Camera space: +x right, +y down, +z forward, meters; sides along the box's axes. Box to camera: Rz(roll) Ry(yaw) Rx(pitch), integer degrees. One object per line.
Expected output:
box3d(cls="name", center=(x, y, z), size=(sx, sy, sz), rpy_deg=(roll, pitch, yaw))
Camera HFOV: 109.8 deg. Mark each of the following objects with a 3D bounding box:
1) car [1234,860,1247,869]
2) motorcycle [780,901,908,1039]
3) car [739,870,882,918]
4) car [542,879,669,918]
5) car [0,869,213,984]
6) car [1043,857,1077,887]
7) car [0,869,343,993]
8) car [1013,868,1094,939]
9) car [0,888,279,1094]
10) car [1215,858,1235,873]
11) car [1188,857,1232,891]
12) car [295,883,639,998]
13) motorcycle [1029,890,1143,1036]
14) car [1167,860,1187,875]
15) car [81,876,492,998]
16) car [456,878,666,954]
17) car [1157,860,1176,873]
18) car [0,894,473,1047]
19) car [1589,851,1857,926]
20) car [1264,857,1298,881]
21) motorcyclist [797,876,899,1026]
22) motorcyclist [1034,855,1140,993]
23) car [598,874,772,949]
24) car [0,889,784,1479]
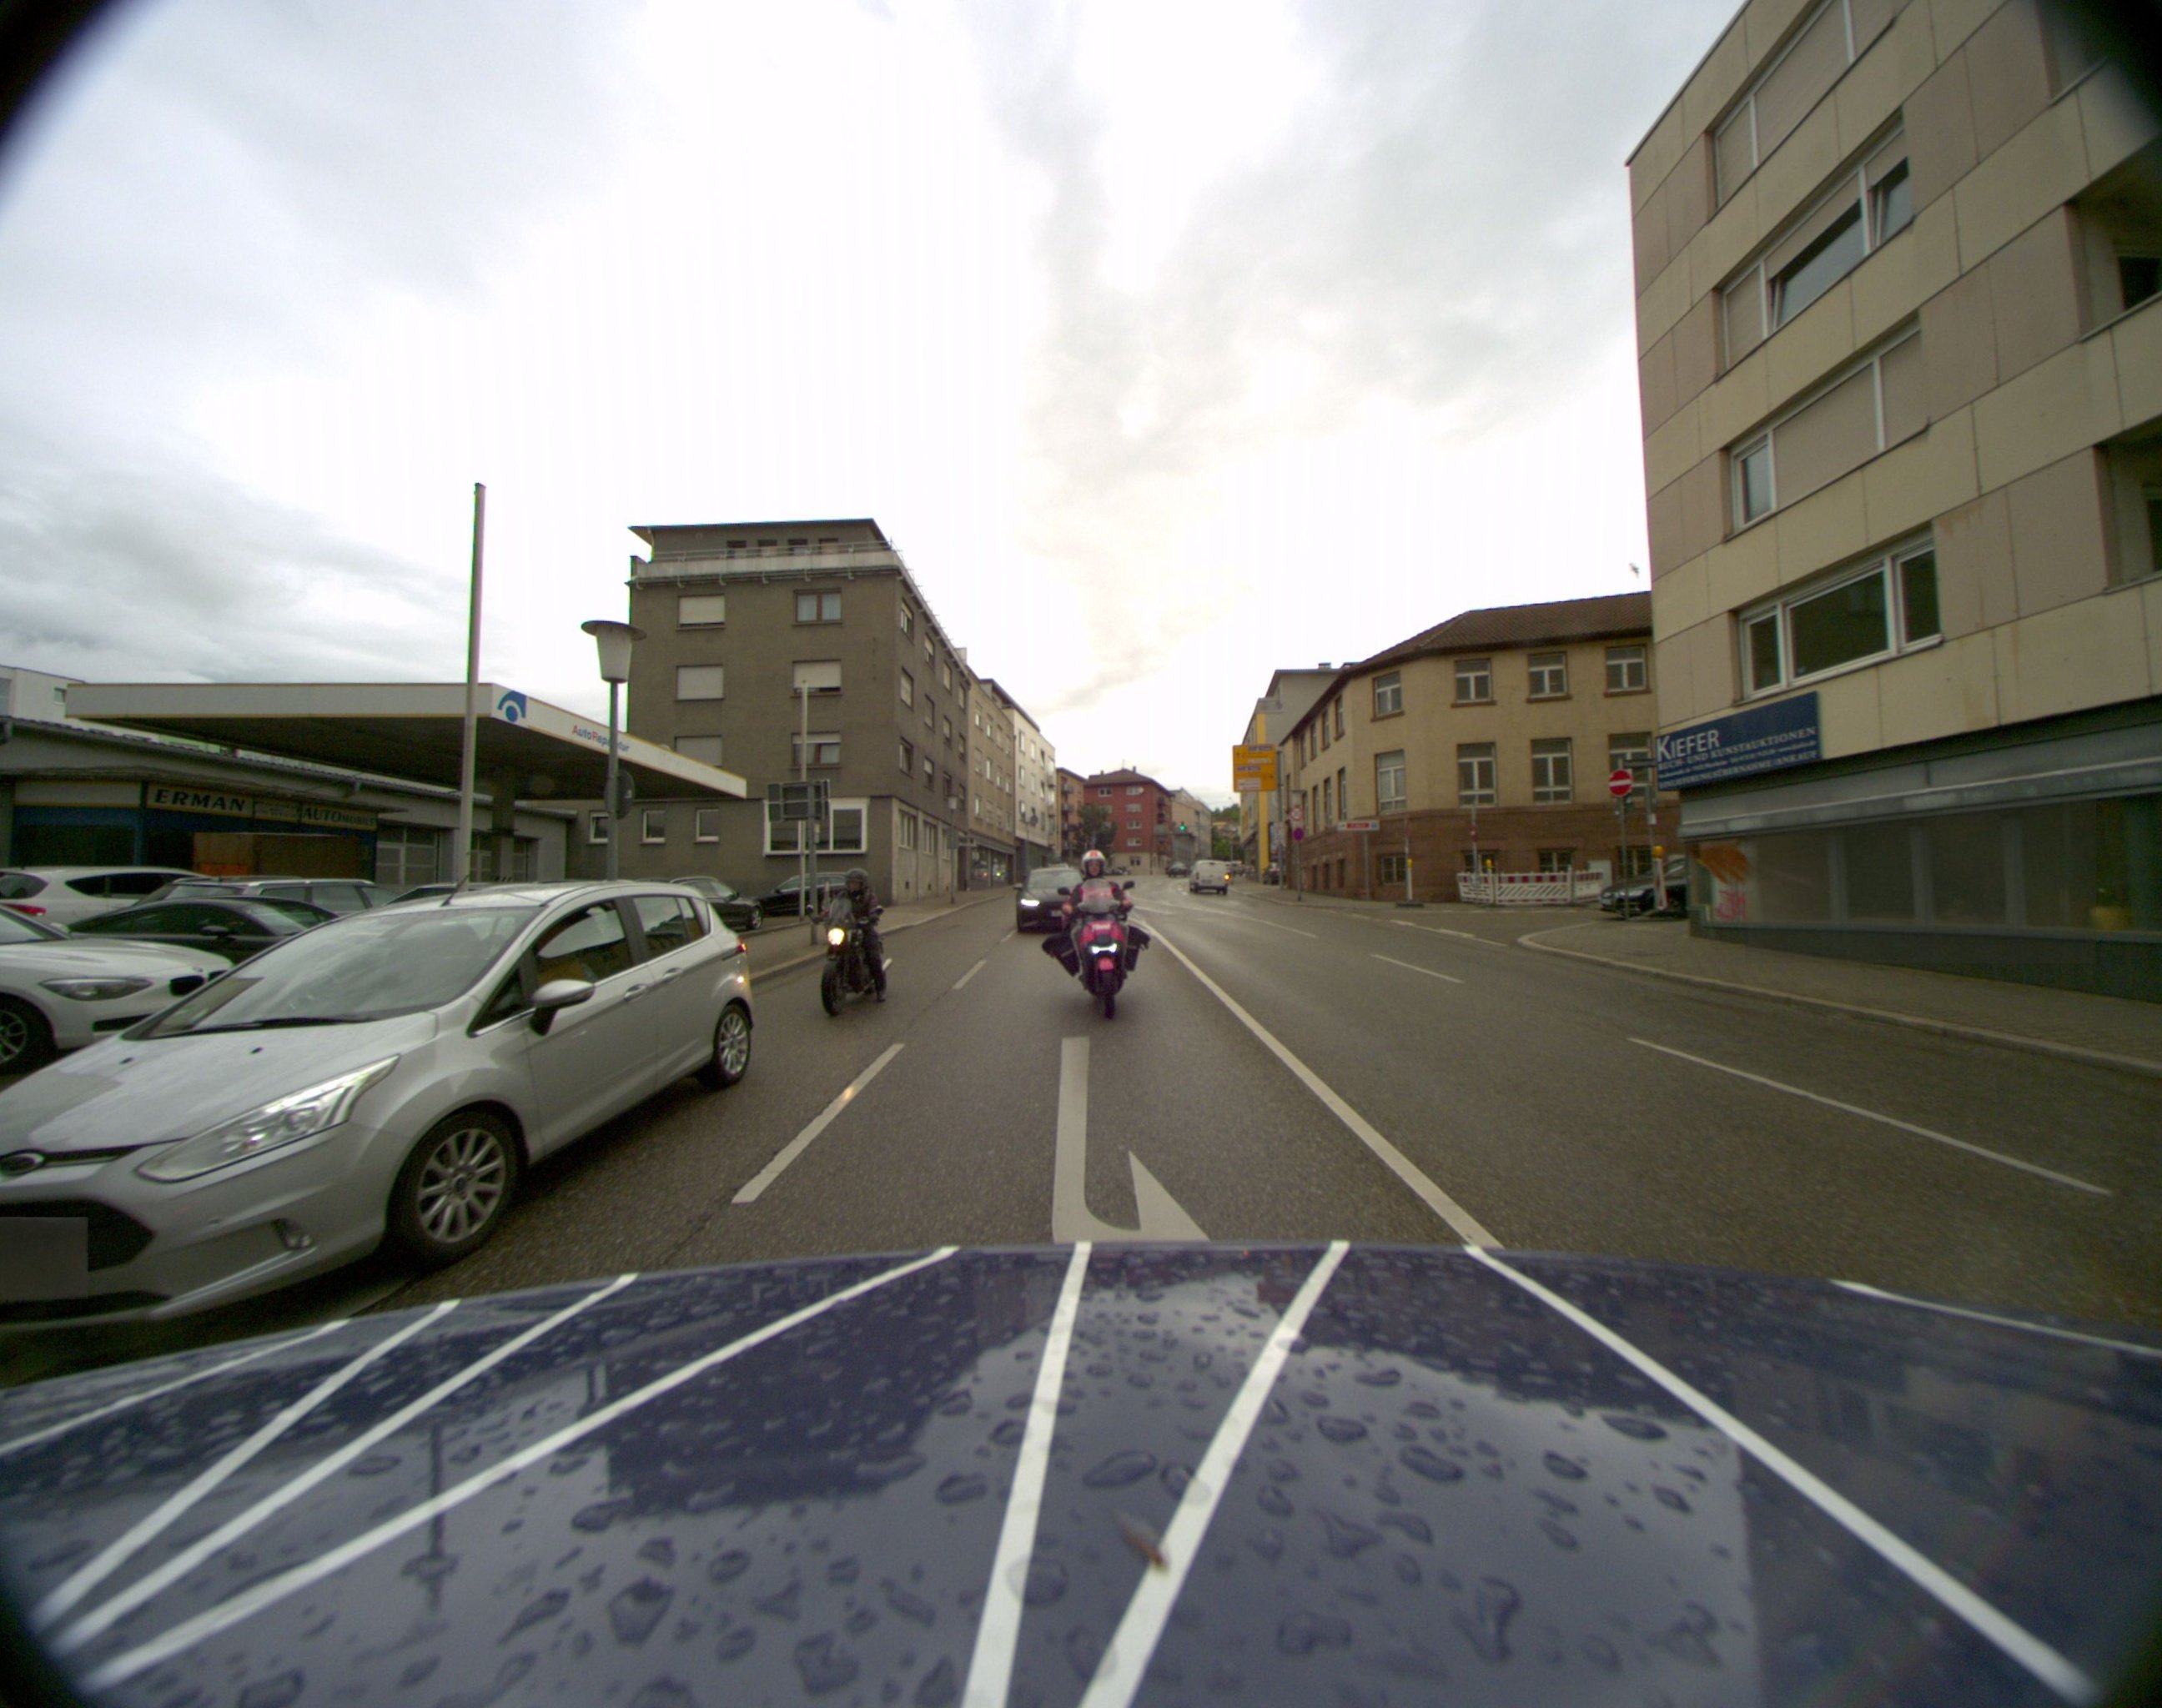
box3d(cls="car", center=(24.614, 1.616, 117.091), size=(1.860, 1.445, 4.323), rpy_deg=(-1, 0, 13))
box3d(cls="motorcycle", center=(-2.689, 1.255, 8.940), size=(0.847, 1.218, 2.372), rpy_deg=(-4, 0, -4))
box3d(cls="car", center=(-10.056, 1.463, 28.456), size=(4.531, 1.495, 2.001), rpy_deg=(-3, 0, 5))
box3d(cls="car", center=(-18.249, 1.698, 29.273), size=(3.751, 1.445, 1.795), rpy_deg=(0, -2, 3))
box3d(cls="car", center=(-17.474, 1.150, 12.496), size=(1.793, 1.720, 3.949), rpy_deg=(-1, 0, 1))
box3d(cls="car", center=(-1.334, 1.160, 50.130), size=(1.848, 1.892, 3.766), rpy_deg=(-1, 0, 4))
box3d(cls="car", center=(-15.162, 1.092, 12.410), size=(1.793, 1.591, 4.419), rpy_deg=(-1, 0, 1))
box3d(cls="car", center=(-0.747, 1.119, 18.788), size=(1.706, 1.451, 4.317), rpy_deg=(-3, 0, -4))
box3d(cls="car", center=(-9.894, 1.127, 6.365), size=(4.002, 1.521, 1.761), rpy_deg=(-1, 0, -15))
box3d(cls="car", center=(15.308, 1.206, 81.146), size=(1.861, 1.445, 4.321), rpy_deg=(2, 0, 8))
box3d(cls="car", center=(7.147, 1.073, 42.570), size=(1.866, 1.793, 4.266), rpy_deg=(0, 0, 2))
box3d(cls="car", center=(-9.709, 1.261, 12.640), size=(1.792, 1.407, 4.616), rpy_deg=(0, 0, 3))
box3d(cls="motorcycle", center=(0.108, 1.107, 8.570), size=(1.010, 1.218, 2.694), rpy_deg=(-4, 0, 3))
box3d(cls="car", center=(9.782, 1.360, 77.090), size=(1.861, 1.445, 4.321), rpy_deg=(-1, 0, 8))
box3d(cls="car", center=(-12.288, 1.170, 12.326), size=(1.793, 1.535, 4.493), rpy_deg=(3, -2, 2))
box3d(cls="car", center=(-12.092, 1.360, 18.110), size=(1.793, 1.502, 4.420), rpy_deg=(3, -2, 2))
box3d(cls="car", center=(9.994, 1.468, 88.789), size=(1.860, 1.445, 4.322), rpy_deg=(-1, 0, 12))
box3d(cls="car", center=(-9.864, 1.246, 8.832), size=(4.002, 1.392, 1.669), rpy_deg=(-1, 0, -14))
box3d(cls="car", center=(14.528, 0.783, 17.463), size=(4.358, 1.495, 1.755), rpy_deg=(-2, 0, 11))
box3d(cls="car", center=(13.361, 1.009, 50.926), size=(1.861, 1.445, 3.966), rpy_deg=(-4, -1, 10))
box3d(cls="motorcyclist", center=(-2.693, 1.085, 8.891), size=(0.847, 1.580, 0.962), rpy_deg=(-4, 0, -4))
box3d(cls="motorcyclist", center=(0.079, 0.733, 8.297), size=(1.010, 1.373, 0.835), rpy_deg=(-4, 0, 3))
box3d(cls="car", center=(-9.397, 1.296, 18.506), size=(1.793, 1.503, 4.438), rpy_deg=(-1, 0, 1))
box3d(cls="car", center=(-3.433, 1.116, 4.374), size=(1.831, 1.532, 4.251), rpy_deg=(-4, 0, -3))
